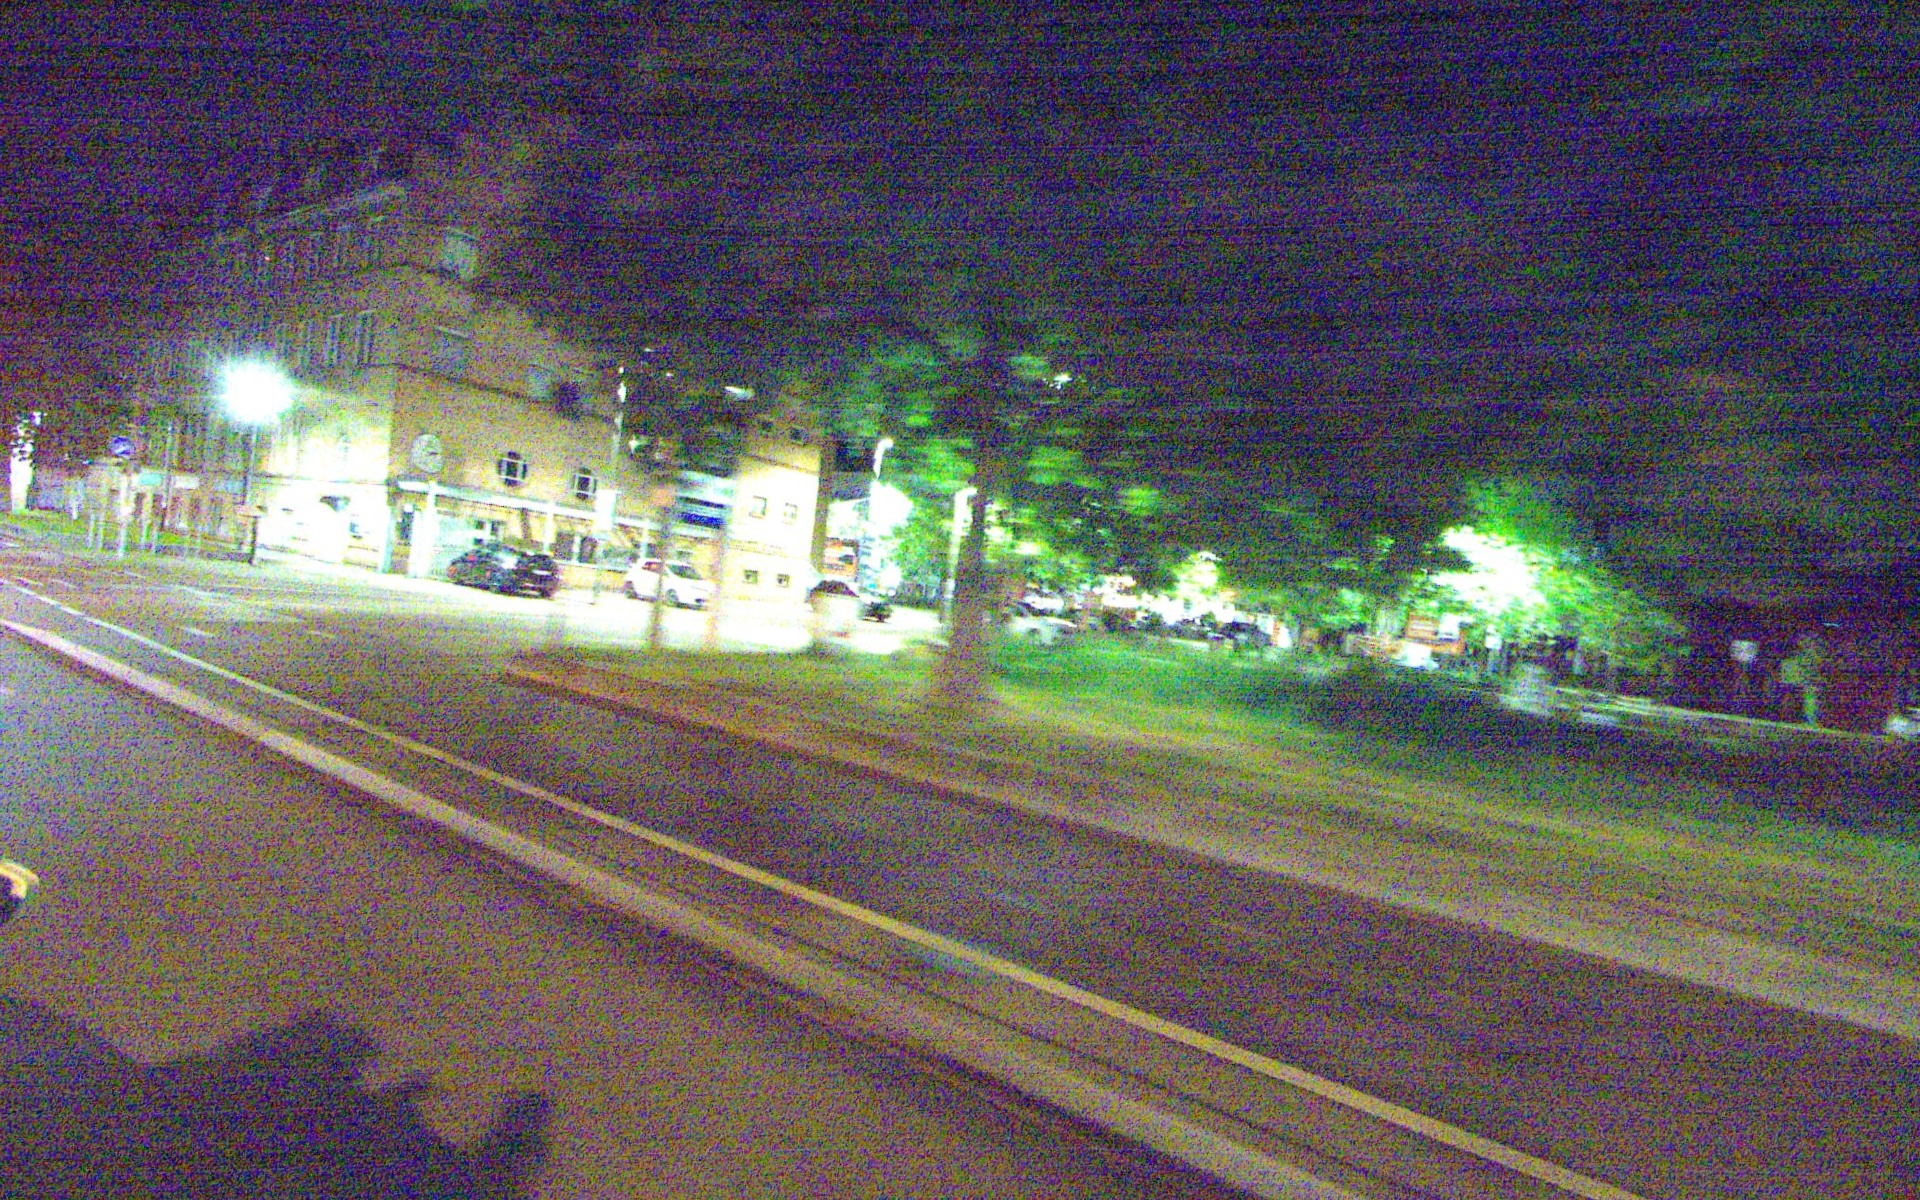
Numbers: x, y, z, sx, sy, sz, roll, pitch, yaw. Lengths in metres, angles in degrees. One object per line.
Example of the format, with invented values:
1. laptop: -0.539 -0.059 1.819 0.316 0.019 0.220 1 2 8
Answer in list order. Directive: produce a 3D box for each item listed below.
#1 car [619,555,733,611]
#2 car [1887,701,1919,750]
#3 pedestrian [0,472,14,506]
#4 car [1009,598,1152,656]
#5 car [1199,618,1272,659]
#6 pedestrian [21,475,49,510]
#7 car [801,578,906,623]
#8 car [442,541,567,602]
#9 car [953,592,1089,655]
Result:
1. car: -10.215 -0.617 36.087 3.938 1.552 1.781 7 1 36
2. car: 33.993 4.476 33.485 4.234 1.527 1.993 7 1 35
3. pedestrian: -52.532 -6.112 55.130 0.893 1.792 0.738 7 2 35
4. car: 4.411 0.978 37.225 4.814 1.532 1.889 7 1 35
5. car: 14.617 2.061 53.173 2.048 1.788 4.535 7 1 37
6. pedestrian: -51.667 -6.010 56.191 0.893 1.792 0.900 7 2 35
7. car: -4.668 0.018 43.900 4.174 1.446 1.994 7 1 35
8. car: -14.191 -0.898 31.238 4.413 1.413 1.512 7 1 37
9. car: 1.976 0.747 33.089 4.034 1.552 1.768 7 1 36
